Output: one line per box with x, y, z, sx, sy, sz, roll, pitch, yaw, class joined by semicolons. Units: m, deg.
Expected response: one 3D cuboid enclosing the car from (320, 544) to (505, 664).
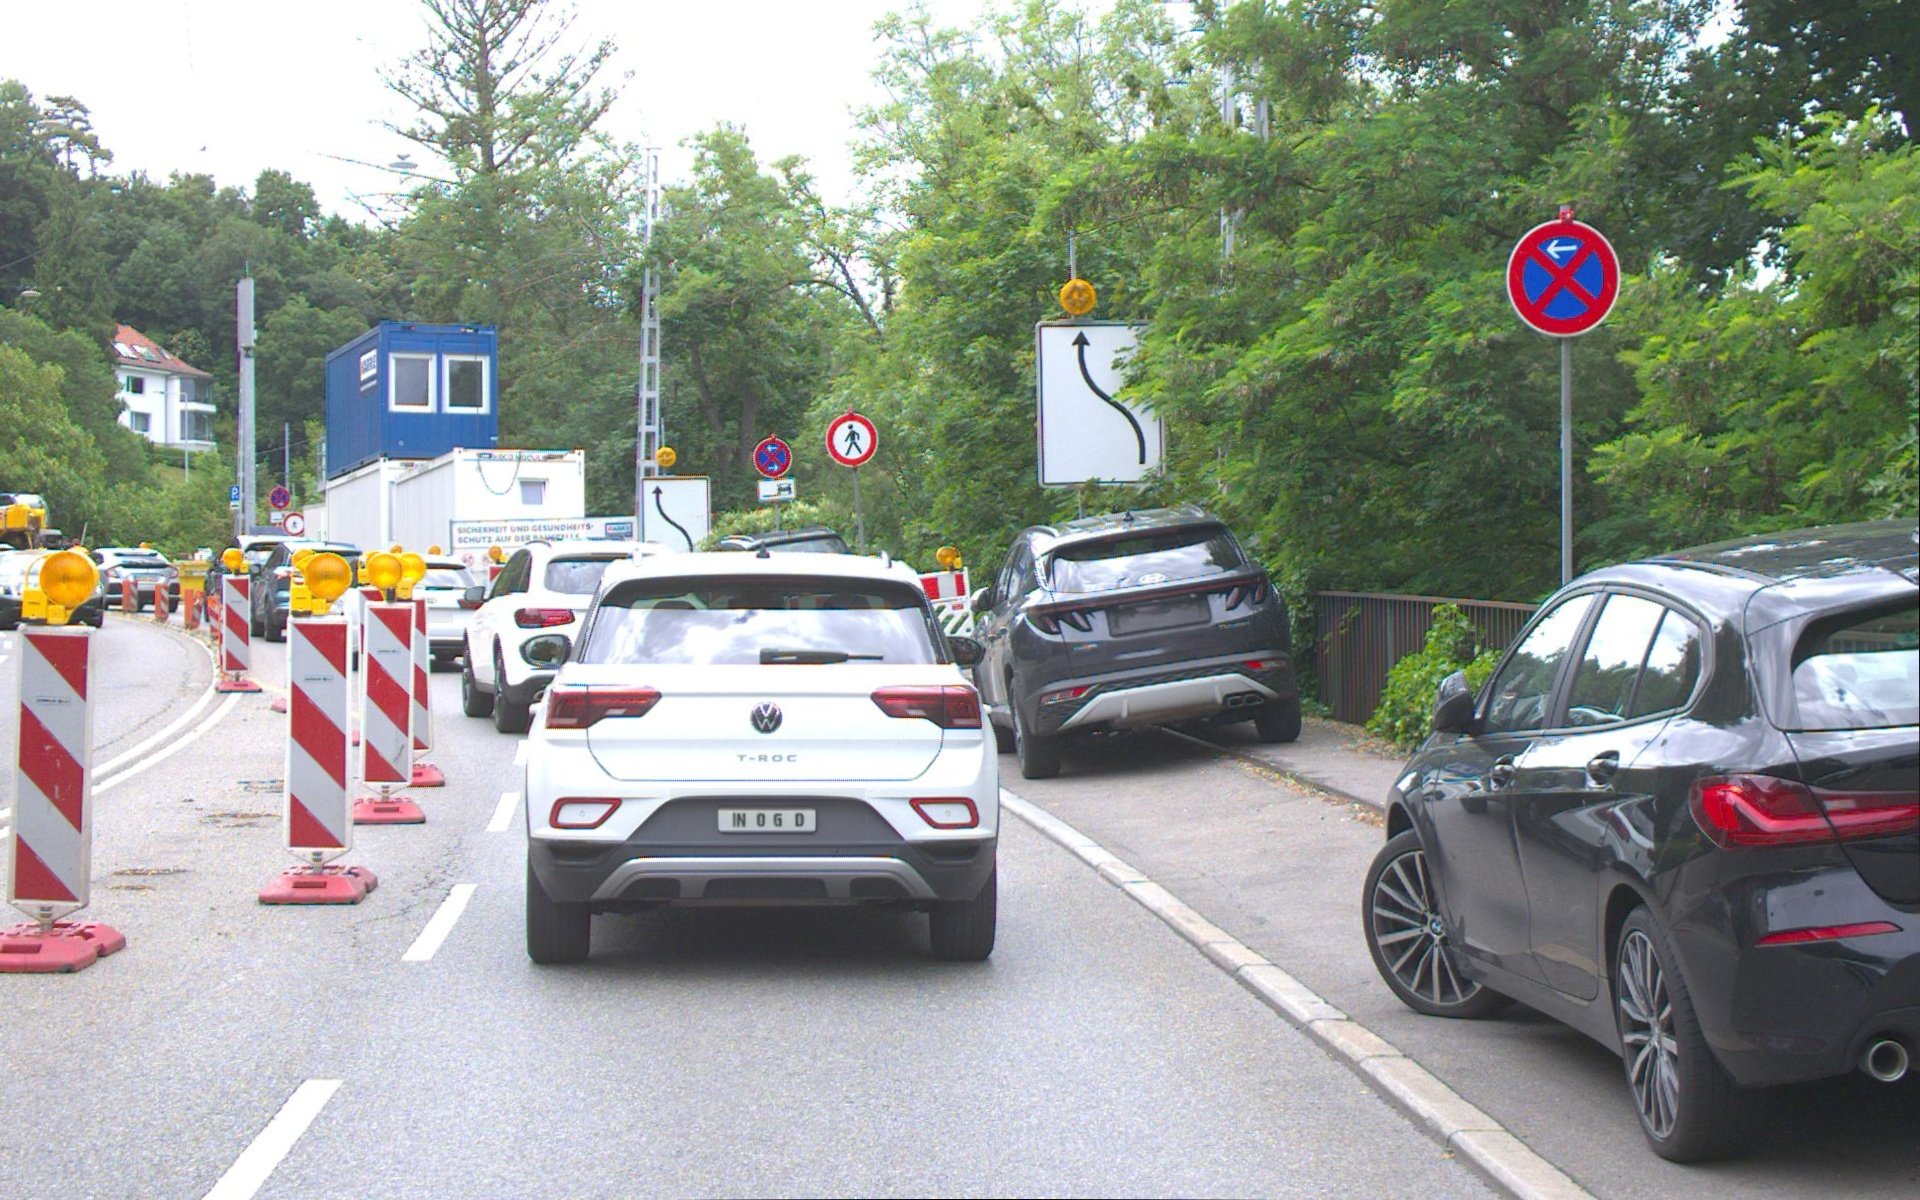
-7.051;0.018;44.033;1.757;1.466;3.797;0;1;-18;car

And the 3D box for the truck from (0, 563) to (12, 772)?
-7.336;0.514;21.963;1.662;1.438;4.027;-1;1;-4;truck

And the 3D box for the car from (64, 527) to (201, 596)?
-18.582;-0.849;77.074;1.993;1.445;4.151;-2;0;-28;car

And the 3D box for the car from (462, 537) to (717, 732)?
-3.319;0.250;30.225;1.757;1.604;3.797;0;1;-13;car

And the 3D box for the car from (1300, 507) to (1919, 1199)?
2.301;0.545;9.615;1.807;1.458;4.195;-6;1;-5;car

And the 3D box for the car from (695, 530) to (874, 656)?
-2.390;-0.111;45.886;1.715;1.512;3.661;-3;1;-12;car

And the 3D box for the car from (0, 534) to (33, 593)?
-25.192;-0.896;87.661;1.993;1.445;4.151;-2;0;-30;car

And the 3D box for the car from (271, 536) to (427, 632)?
-9.771;-0.237;54.753;1.993;1.409;4.151;-2;0;-16;car

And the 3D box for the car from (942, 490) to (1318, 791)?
1.073;0.221;23.871;1.849;1.651;4.143;-9;2;-5;car

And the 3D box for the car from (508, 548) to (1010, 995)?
-0.913;0.569;13.959;1.757;1.550;3.796;0;1;-6;car

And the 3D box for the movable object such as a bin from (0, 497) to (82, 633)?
-27.681;-0.989;98.207;3.531;3.687;7.495;-2;1;-26;movable object such as a bin

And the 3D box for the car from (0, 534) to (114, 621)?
-16.649;-0.419;62.270;1.895;1.489;4.001;-2;1;-23;car
